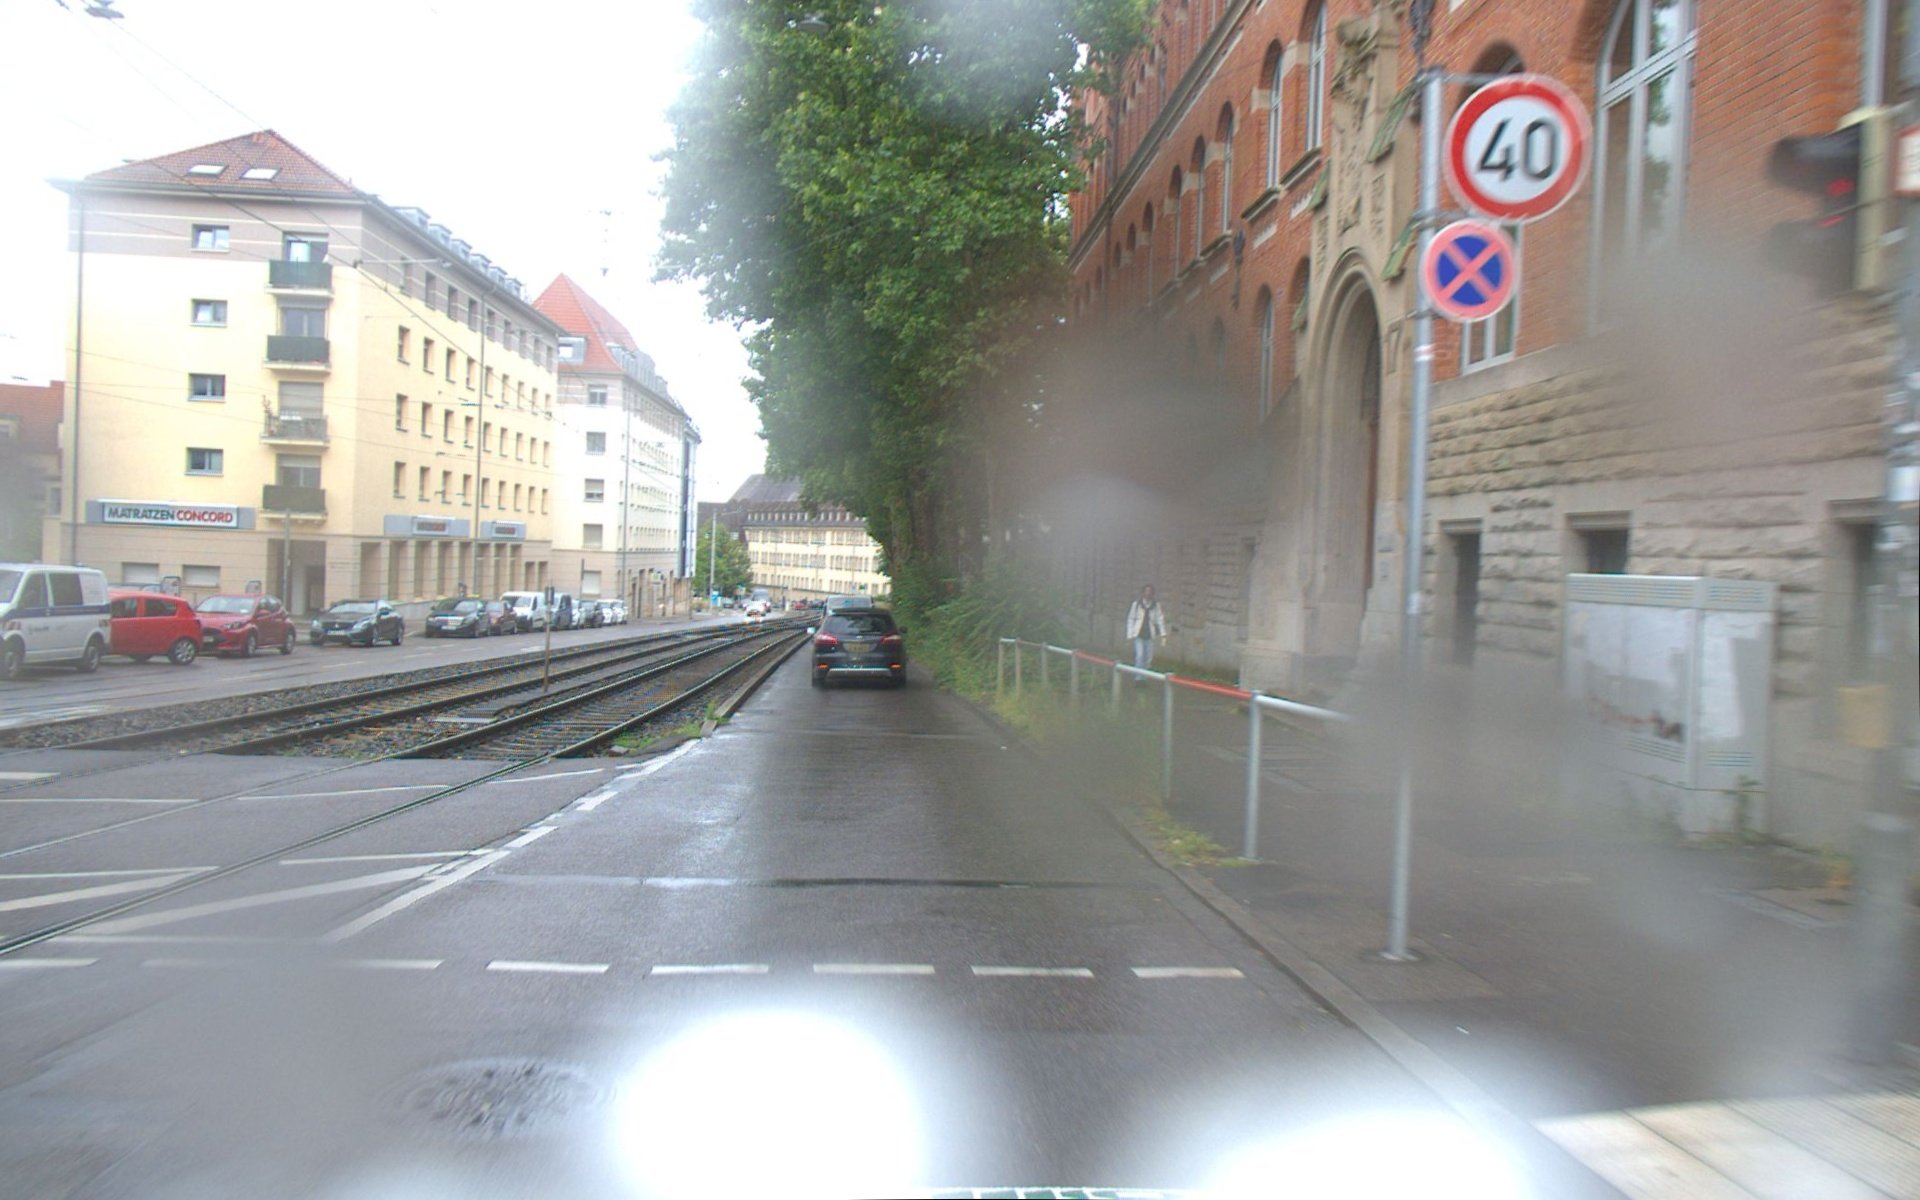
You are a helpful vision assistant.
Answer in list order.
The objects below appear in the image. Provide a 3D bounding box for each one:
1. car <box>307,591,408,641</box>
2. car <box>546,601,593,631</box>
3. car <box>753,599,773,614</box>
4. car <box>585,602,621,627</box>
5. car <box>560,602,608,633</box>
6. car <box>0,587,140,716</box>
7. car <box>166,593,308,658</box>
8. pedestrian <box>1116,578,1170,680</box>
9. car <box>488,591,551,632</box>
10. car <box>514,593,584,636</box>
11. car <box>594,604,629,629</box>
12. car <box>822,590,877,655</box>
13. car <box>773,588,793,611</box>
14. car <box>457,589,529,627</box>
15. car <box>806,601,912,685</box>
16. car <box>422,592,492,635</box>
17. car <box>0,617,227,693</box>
[{"bbox_3d":[-18.014,0.484,49.644,1.647,1.420,4.617,1,-1,-5],"label":"car"},{"bbox_3d":[-20.141,0.821,85.520,1.657,1.464,4.046,1,0,-3],"label":"car"},{"bbox_3d":[-20.146,0.677,169.133,1.677,1.488,4.278,0,0,-3],"label":"car"},{"bbox_3d":[-21.202,0.865,98.394,1.671,1.421,3.929,2,-1,-7],"label":"car"},{"bbox_3d":[-20.414,0.939,89.998,1.777,1.525,4.579,2,0,-3],"label":"car"},{"bbox_3d":[-17.051,0.842,29.805,2.029,2.044,5.298,4,0,-3],"label":"car"},{"bbox_3d":[-17.526,0.628,40.301,1.619,1.477,4.073,1,-1,0],"label":"car"},{"bbox_3d":[3.152,0.499,28.494,0.806,1.708,0.859,1,-1,-1],"label":"pedestrian"},{"bbox_3d":[-19.845,0.537,74.638,1.830,1.747,4.457,1,-1,-3],"label":"car"},{"bbox_3d":[-19.915,0.692,80.333,1.953,1.938,5.459,3,-1,0],"label":"car"},{"bbox_3d":[-21.637,1.018,102.851,1.675,1.475,3.537,3,-1,-5],"label":"car"},{"bbox_3d":[-3.717,0.750,55.071,1.706,2.049,3.899,1,-1,-5],"label":"car"},{"bbox_3d":[-20.619,-0.052,192.795,1.954,2.495,5.994,1,-1,-3],"label":"car"},{"bbox_3d":[-19.425,0.344,68.972,1.814,1.457,4.828,2,-1,-3],"label":"car"},{"bbox_3d":[-1.979,0.822,32.363,1.895,1.478,4.314,2,-1,-4],"label":"car"},{"bbox_3d":[-19.084,0.525,62.922,1.817,1.534,4.981,1,-1,-8],"label":"car"},{"bbox_3d":[-17.634,1.126,34.522,1.747,1.459,3.973,1,-1,30],"label":"car"}]
